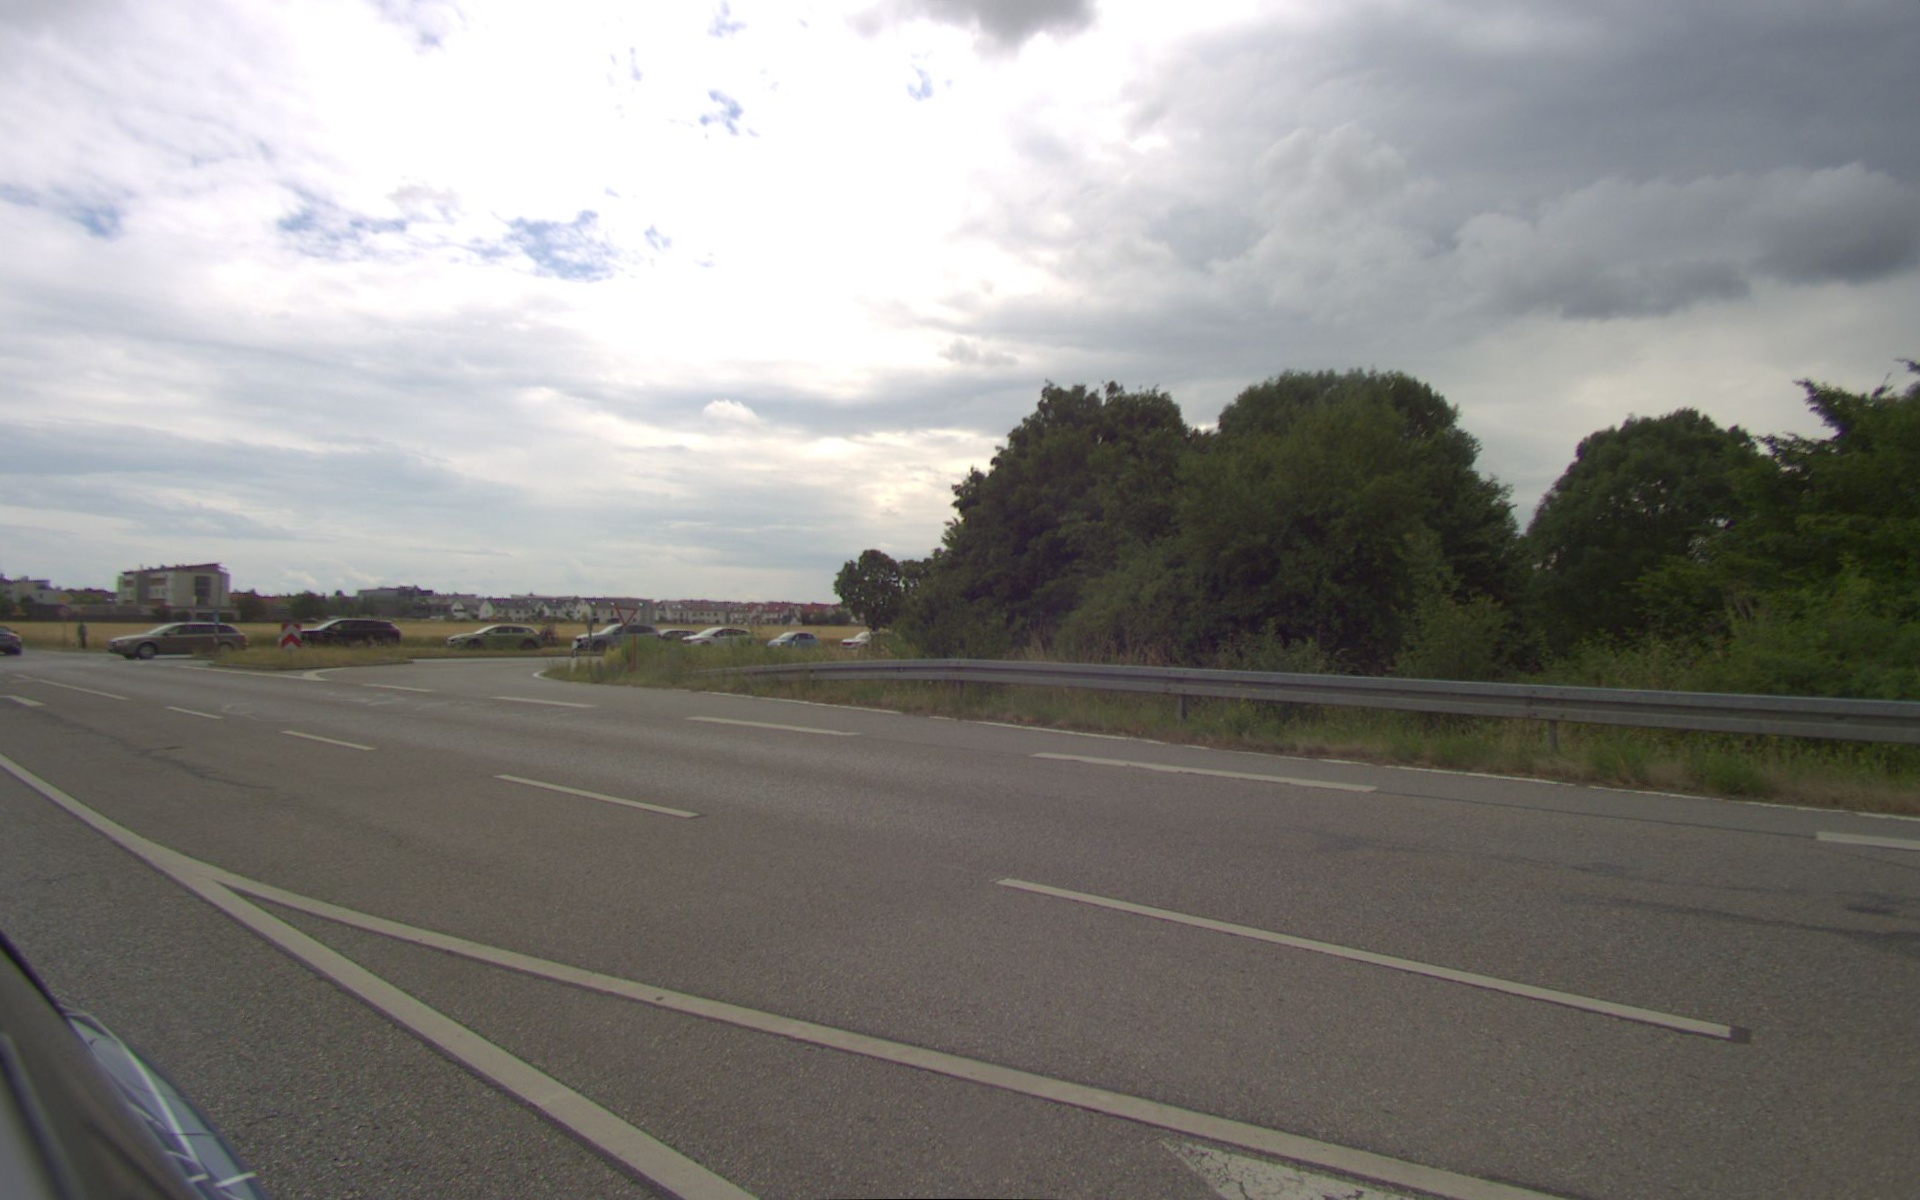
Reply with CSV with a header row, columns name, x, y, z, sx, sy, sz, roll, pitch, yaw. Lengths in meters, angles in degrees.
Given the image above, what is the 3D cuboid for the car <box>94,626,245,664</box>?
name,x,y,z,sx,sy,sz,roll,pitch,yaw
car,-31.680,1.772,40.690,1.905,1.435,4.415,-1,-2,32

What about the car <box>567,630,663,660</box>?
name,x,y,z,sx,sy,sz,roll,pitch,yaw
car,-18.728,2.407,55.015,4.569,1.528,1.913,2,-2,-43

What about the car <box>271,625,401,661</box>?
name,x,y,z,sx,sy,sz,roll,pitch,yaw
car,-28.078,1.900,45.606,4.683,1.543,1.913,2,-2,-43

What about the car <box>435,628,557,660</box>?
name,x,y,z,sx,sy,sz,roll,pitch,yaw
car,-23.189,2.153,50.705,5.222,1.533,1.913,2,-2,-43

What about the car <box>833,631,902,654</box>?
name,x,y,z,sx,sy,sz,roll,pitch,yaw
car,-6.165,2.821,67.732,1.911,1.493,4.441,-1,-2,43

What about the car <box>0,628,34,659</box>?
name,x,y,z,sx,sy,sz,roll,pitch,yaw
car,-43.019,1.946,45.023,4.234,1.294,2.142,-1,-1,40

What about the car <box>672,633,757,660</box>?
name,x,y,z,sx,sy,sz,roll,pitch,yaw
car,-14.304,2.673,59.136,4.438,1.493,1.913,2,-2,-43

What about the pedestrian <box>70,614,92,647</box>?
name,x,y,z,sx,sy,sz,roll,pitch,yaw
pedestrian,-44.310,1.552,50.990,0.865,1.617,0.587,-1,-5,38

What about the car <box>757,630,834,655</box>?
name,x,y,z,sx,sy,sz,roll,pitch,yaw
car,-10.256,2.646,63.355,4.438,1.493,1.913,2,-2,-43
